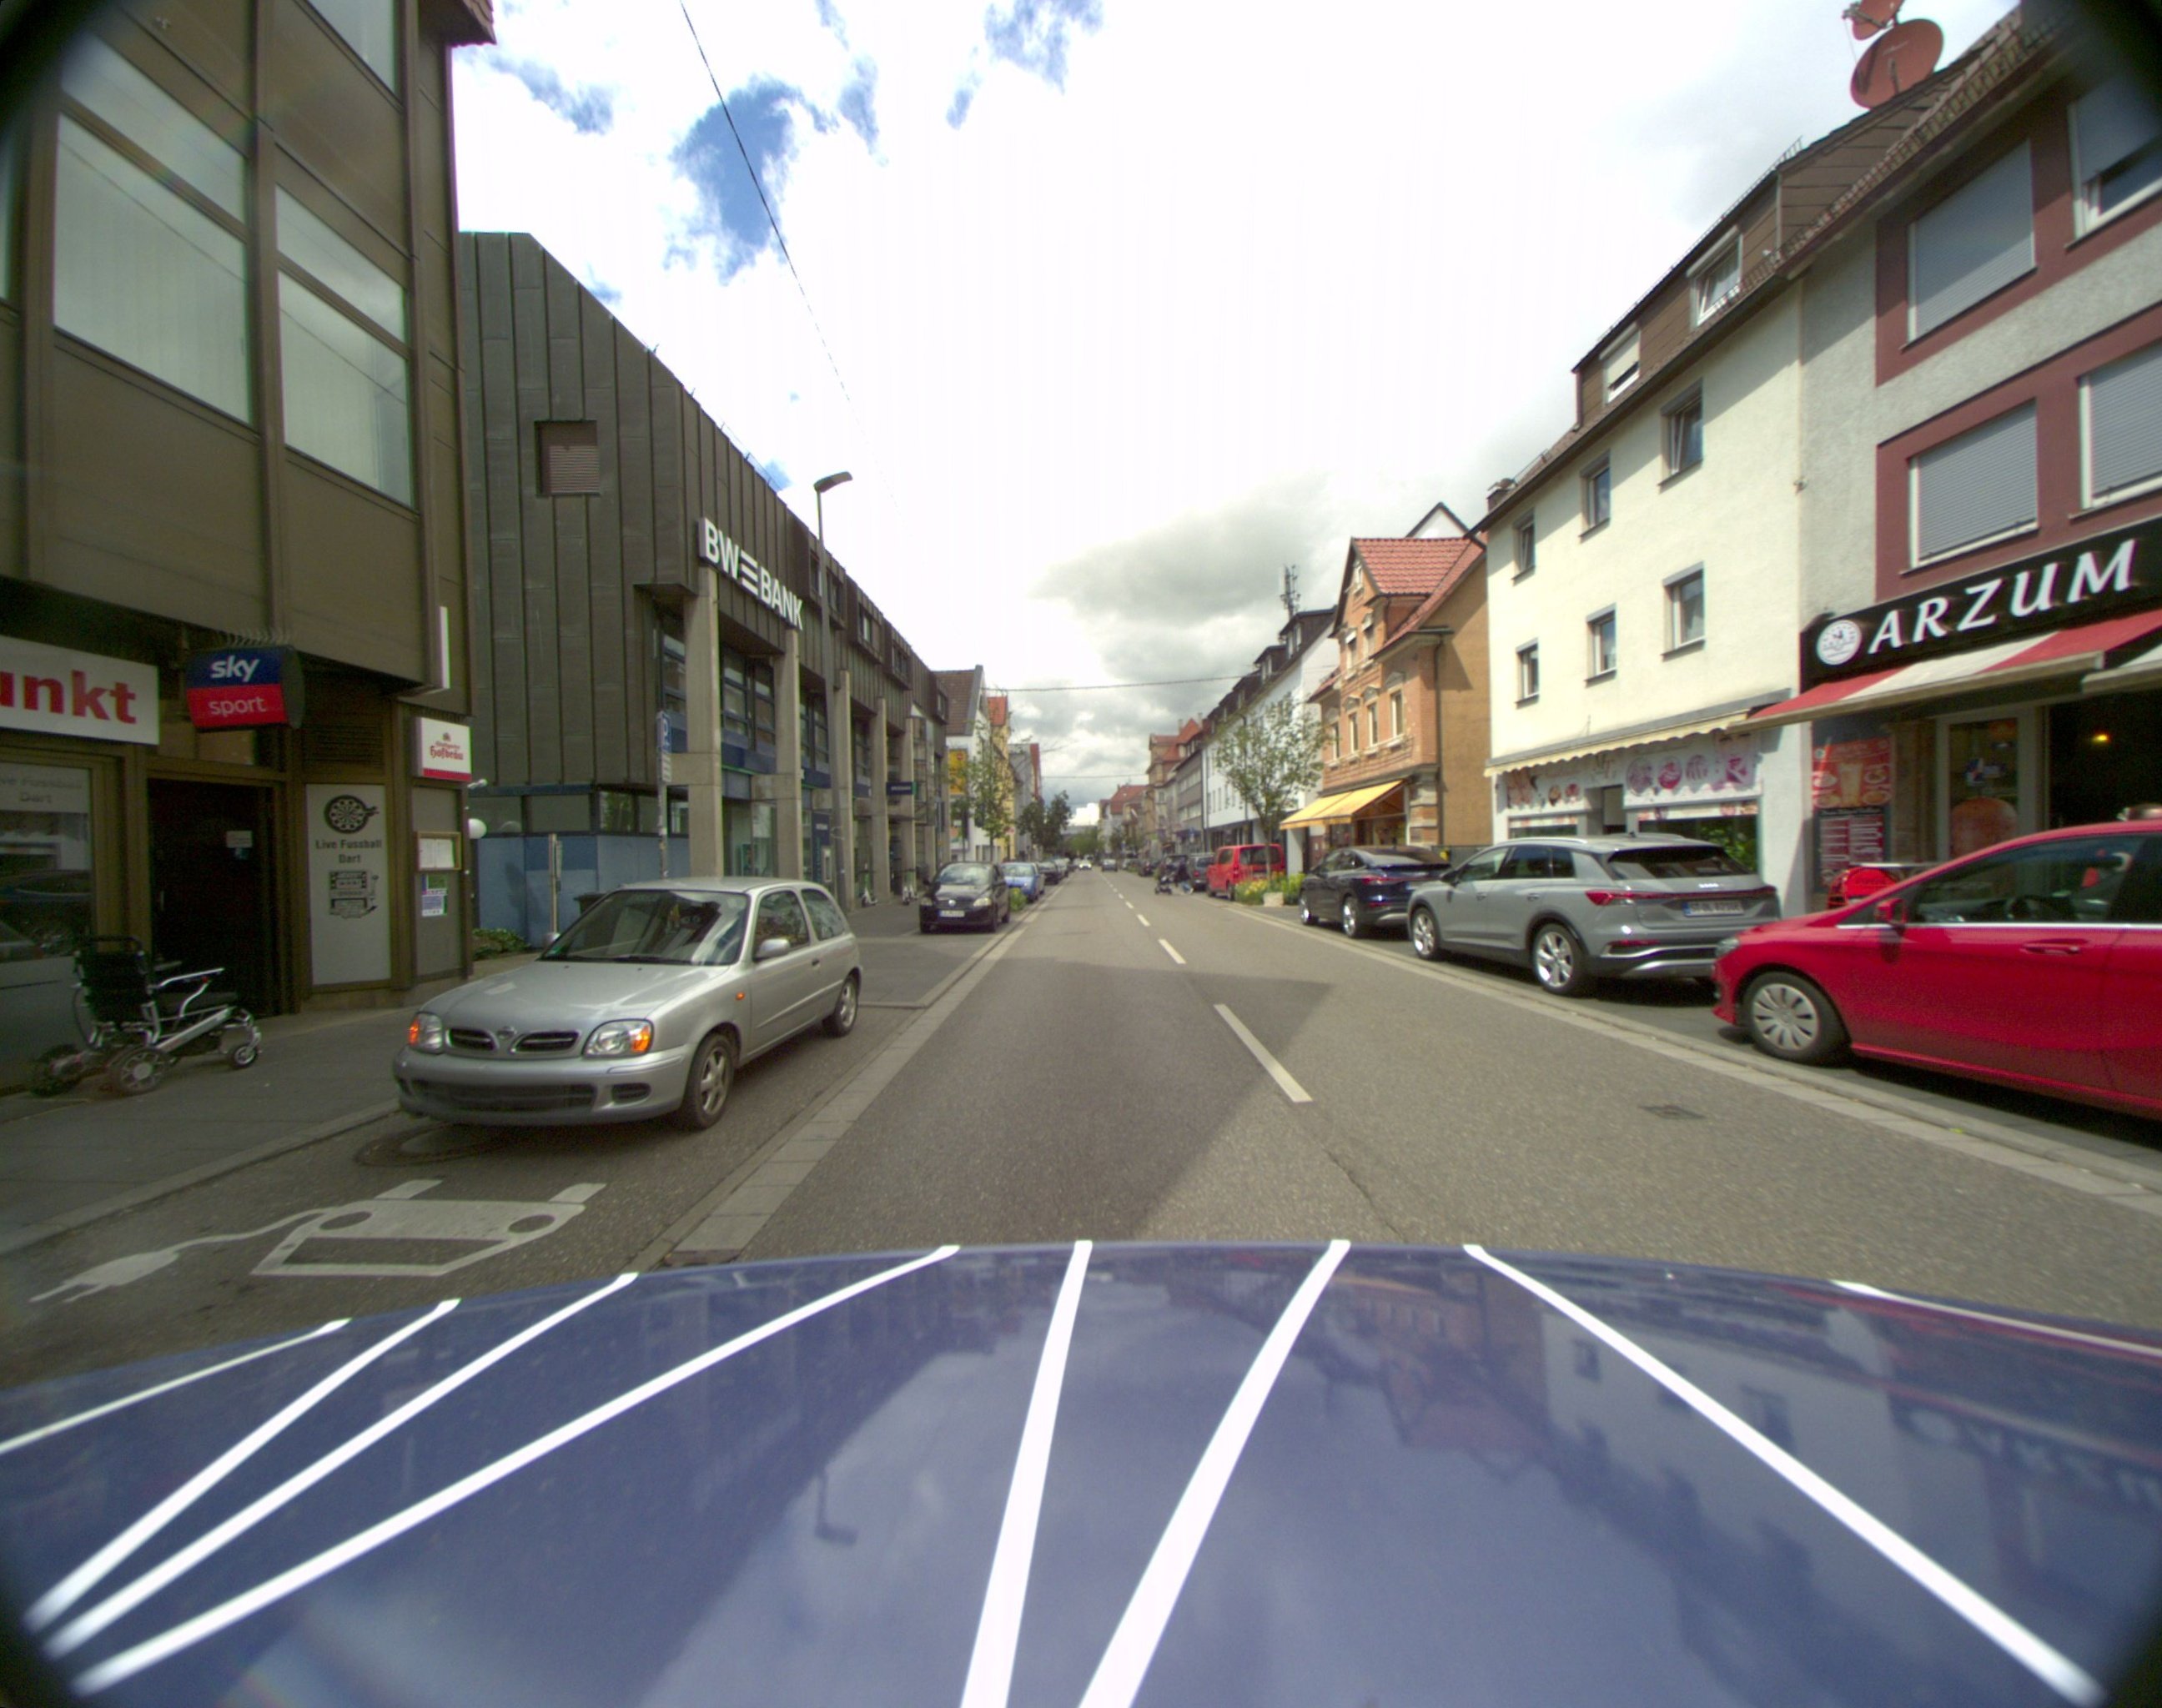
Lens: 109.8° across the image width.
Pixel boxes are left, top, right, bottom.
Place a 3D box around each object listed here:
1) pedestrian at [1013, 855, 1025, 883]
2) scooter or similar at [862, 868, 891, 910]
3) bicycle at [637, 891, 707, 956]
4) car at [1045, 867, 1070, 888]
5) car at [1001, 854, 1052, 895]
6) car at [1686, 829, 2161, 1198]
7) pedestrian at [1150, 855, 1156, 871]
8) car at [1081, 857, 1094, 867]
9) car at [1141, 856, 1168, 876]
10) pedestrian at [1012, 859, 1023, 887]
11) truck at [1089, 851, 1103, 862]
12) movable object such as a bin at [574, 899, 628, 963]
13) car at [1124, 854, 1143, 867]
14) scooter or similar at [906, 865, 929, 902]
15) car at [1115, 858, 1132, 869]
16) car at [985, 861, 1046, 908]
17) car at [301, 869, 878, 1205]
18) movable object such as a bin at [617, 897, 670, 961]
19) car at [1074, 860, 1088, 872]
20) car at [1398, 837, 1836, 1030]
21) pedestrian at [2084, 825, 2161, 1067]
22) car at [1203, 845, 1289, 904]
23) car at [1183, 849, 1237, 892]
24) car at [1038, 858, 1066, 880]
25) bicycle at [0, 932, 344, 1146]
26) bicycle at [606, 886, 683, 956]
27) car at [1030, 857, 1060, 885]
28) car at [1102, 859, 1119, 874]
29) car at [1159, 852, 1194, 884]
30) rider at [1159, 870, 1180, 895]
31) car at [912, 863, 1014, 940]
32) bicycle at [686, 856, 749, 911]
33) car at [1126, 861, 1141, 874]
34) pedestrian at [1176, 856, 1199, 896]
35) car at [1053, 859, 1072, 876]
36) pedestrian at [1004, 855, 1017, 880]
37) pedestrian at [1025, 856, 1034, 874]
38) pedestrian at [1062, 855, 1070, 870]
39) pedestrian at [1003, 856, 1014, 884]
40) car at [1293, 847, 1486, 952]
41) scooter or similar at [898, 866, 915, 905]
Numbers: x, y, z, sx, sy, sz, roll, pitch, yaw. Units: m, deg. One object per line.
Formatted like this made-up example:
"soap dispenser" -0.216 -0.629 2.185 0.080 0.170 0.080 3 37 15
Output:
"pedestrian" -4.099 0.997 50.222 0.589 1.830 0.576 -3 1 1
"scooter or similar" -6.570 1.102 24.485 0.423 1.238 1.561 -3 1 0
"bicycle" -7.529 1.257 14.044 0.426 1.075 1.502 0 0 3
"car" -1.917 1.926 63.207 1.634 1.467 4.957 -3 1 2
"car" -2.400 0.876 34.566 1.725 1.567 4.429 5 0 2
"car" 5.541 0.672 3.626 1.804 1.594 4.217 -1 0 -3
"pedestrian" 7.726 0.945 81.599 0.549 1.747 0.728 -3 1 -2
"car" 0.910 1.188 113.550 1.804 1.594 4.203 1 0 -1
"car" 6.242 1.002 64.750 1.794 1.494 4.177 -3 0 0
"pedestrian" -4.266 1.247 50.978 0.589 1.830 0.576 -3 1 1
"truck" 3.225 0.580 165.324 2.113 2.292 6.472 -3 1 -5
"movable object such as a bin" -8.047 1.281 12.752 0.488 0.993 0.554 -3 1 3
"car" 6.174 0.760 89.392 1.602 1.437 3.555 -2 0 -7
"scooter or similar" -5.869 1.036 27.341 0.423 1.238 1.561 -3 1 0
"car" 5.822 1.324 104.958 1.850 1.390 4.035 -3 1 -2
"car" -2.409 1.100 28.873 1.725 1.485 4.109 -3 1 2
"car" -2.884 0.915 5.550 1.613 1.486 3.795 2 0 2
"movable object such as a bin" -7.321 1.245 12.729 0.488 0.993 0.554 -3 1 3
"car" -0.014 1.566 98.459 1.724 1.517 3.598 -1 0 1
"car" 5.470 0.681 8.625 1.804 1.594 4.351 -1 0 -2
"pedestrian" 7.586 0.619 5.258 0.502 1.638 0.574 -3 1 0
"car" 5.798 0.652 27.323 1.821 1.878 4.839 -3 1 -2
"car" 5.811 0.694 34.747 1.820 1.745 4.464 -3 1 2
"car" -2.155 1.074 57.261 1.725 1.467 4.354 -3 1 2
"bicycle" -6.031 1.134 5.060 0.722 1.041 1.476 -3 1 1
"bicycle" -7.991 1.203 13.976 0.426 1.113 1.502 -3 1 3
"car" -2.235 1.012 48.066 1.726 1.567 4.108 -3 1 -2
"car" 3.655 1.530 93.555 1.910 1.554 4.645 -3 1 1
"car" 5.886 0.814 47.352 1.820 1.745 4.669 -3 1 3
"rider" 3.742 1.197 32.070 0.805 1.007 0.707 -3 1 3
"car" -2.582 0.998 17.478 1.613 1.523 3.795 0 0 2
"bicycle" -8.025 0.620 16.856 0.426 1.113 1.741 -3 1 3
"car" 6.448 1.615 93.826 1.589 1.406 3.668 -3 1 2
"pedestrian" 4.422 0.903 31.548 0.807 1.565 0.779 -3 1 3
"car" -1.706 1.280 69.490 1.694 1.463 4.524 -3 -1 -2
"pedestrian" -4.980 0.978 53.942 0.743 1.727 0.757 -3 1 1
"pedestrian" -4.511 0.984 66.962 0.751 1.544 0.726 -1 1 0
"pedestrian" -1.789 1.033 91.146 0.978 1.853 0.864 1 1 -1
"pedestrian" -4.823 1.047 50.314 0.589 1.830 0.576 -3 1 1
"car" 5.432 0.725 14.072 1.804 1.588 4.389 -2 0 1
"scooter or similar" -5.854 1.053 25.556 0.406 1.238 1.324 -3 1 -9
